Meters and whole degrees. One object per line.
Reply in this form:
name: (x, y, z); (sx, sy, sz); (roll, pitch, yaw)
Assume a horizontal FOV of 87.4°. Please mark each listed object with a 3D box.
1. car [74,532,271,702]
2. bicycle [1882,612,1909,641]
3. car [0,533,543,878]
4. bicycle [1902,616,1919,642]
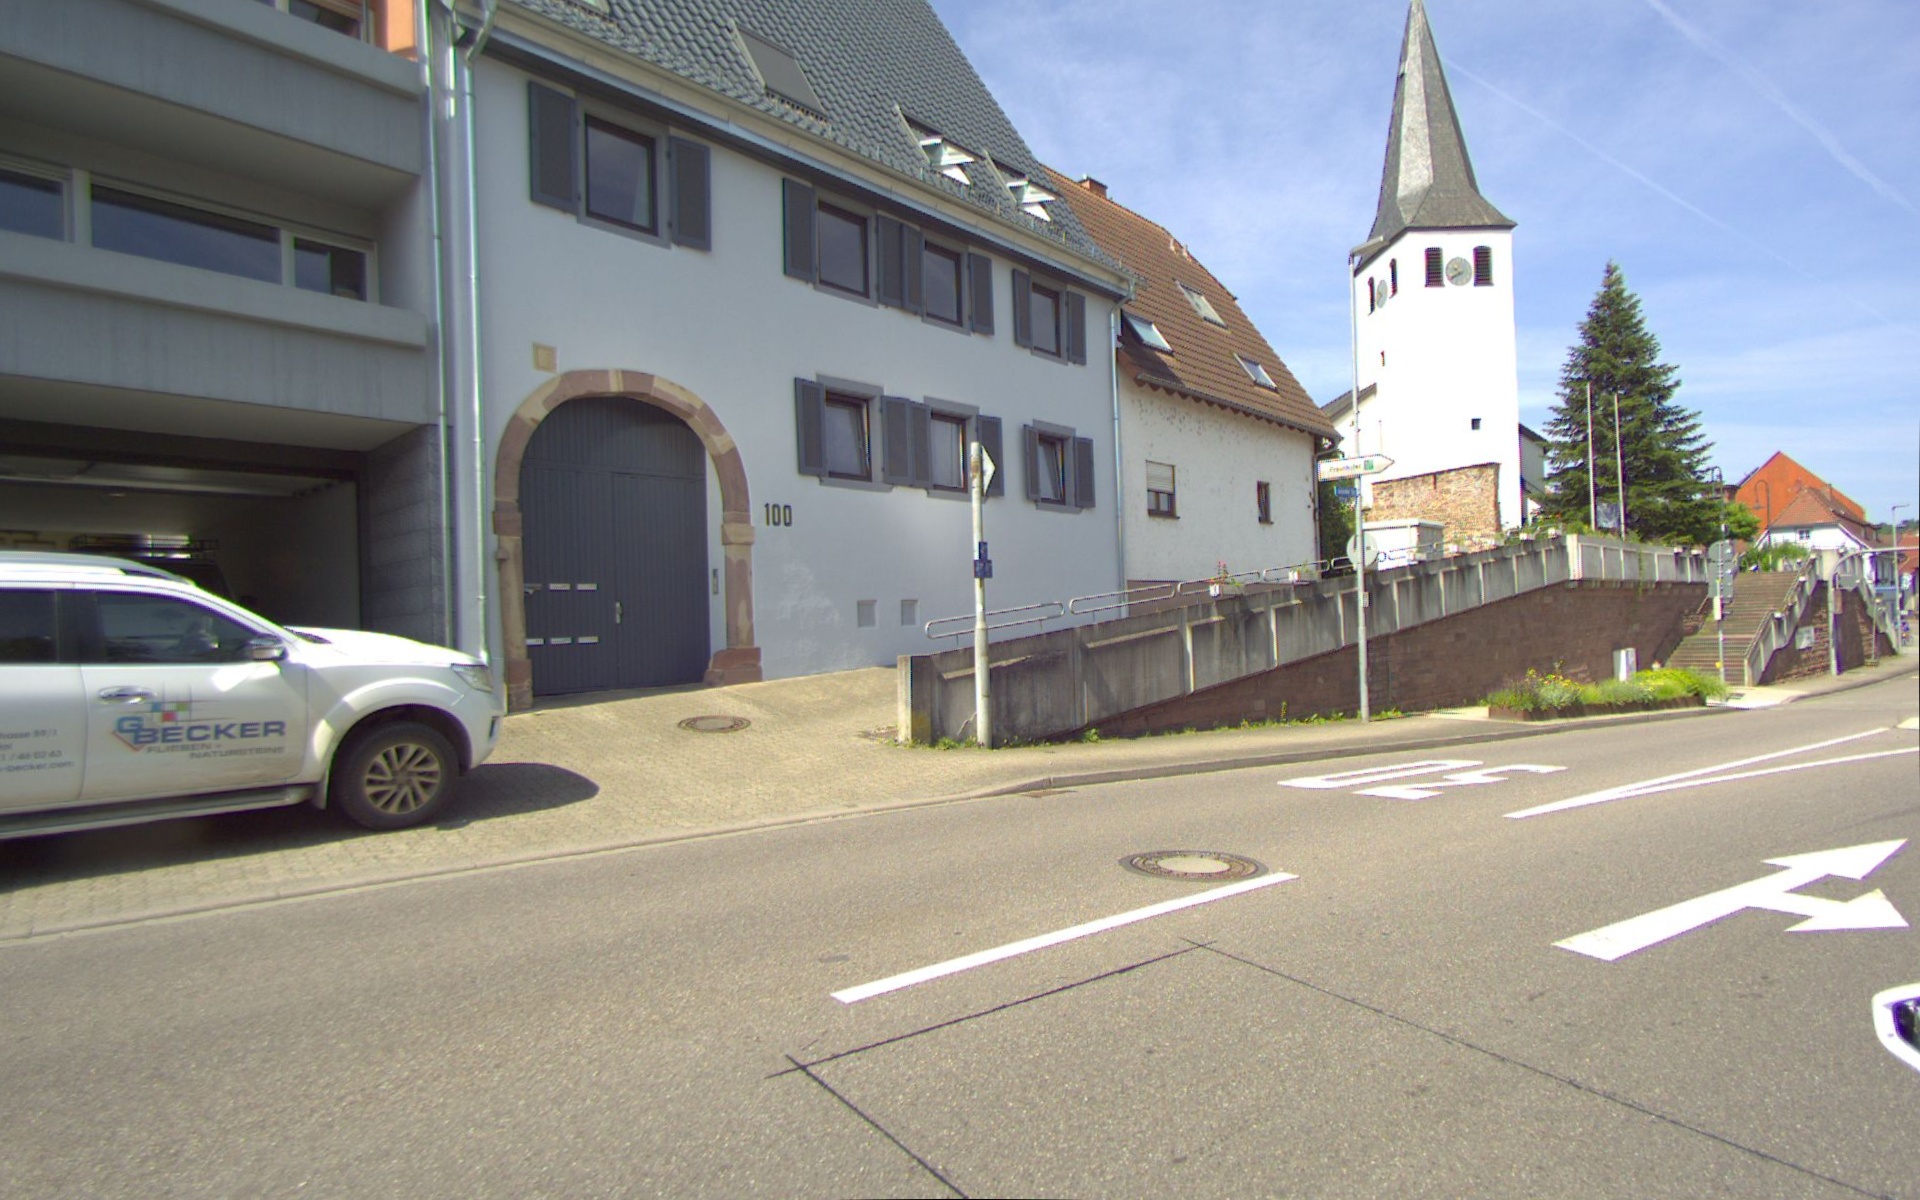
car: (-11.201, 0.193, 14.179); (1.863, 2.040, 4.071); (0, 0, -43)
bicycle: (59.769, 1.677, 64.178); (2.641, 1.803, 0.637); (0, 0, -33)
car: (-5.592, 0.533, 6.230); (1.784, 1.822, 5.257); (6, 3, 42)
bicycle: (59.852, 1.796, 62.972); (2.535, 1.629, 0.554); (0, 0, -33)
